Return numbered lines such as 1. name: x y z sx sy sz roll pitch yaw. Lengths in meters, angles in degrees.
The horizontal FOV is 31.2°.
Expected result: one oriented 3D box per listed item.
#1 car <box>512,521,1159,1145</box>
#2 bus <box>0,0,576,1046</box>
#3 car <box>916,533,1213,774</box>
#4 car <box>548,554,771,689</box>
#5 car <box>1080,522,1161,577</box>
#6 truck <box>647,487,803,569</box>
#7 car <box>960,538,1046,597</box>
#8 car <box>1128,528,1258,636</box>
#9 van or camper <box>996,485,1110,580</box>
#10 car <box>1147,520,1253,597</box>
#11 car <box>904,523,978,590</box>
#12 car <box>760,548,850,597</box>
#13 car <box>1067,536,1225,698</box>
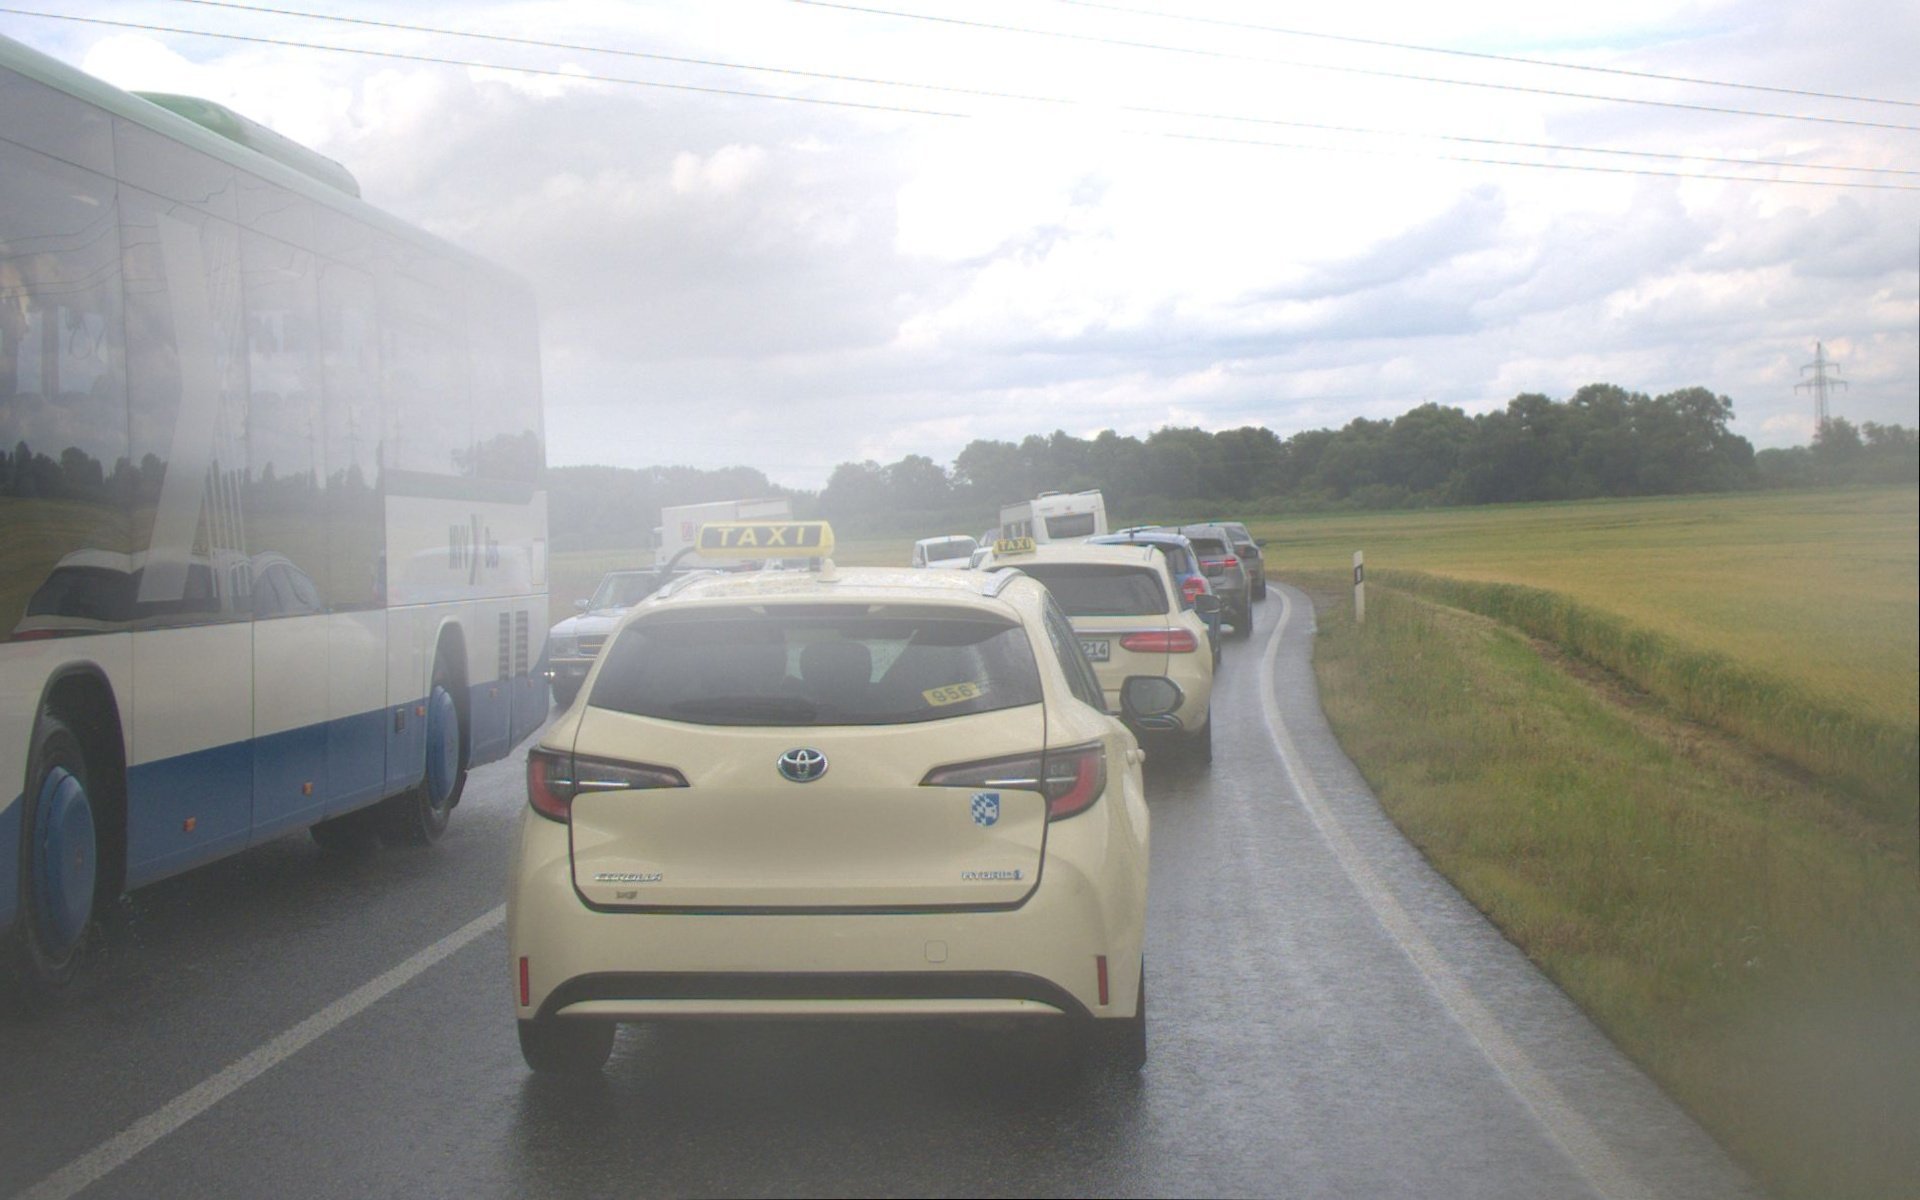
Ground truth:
1. car: -0.210 0.587 10.524 1.613 1.557 3.738 0 0 4
2. bus: -3.988 -0.406 14.450 2.758 3.286 12.501 0 1 3
3. car: 0.804 0.291 23.653 1.841 1.487 4.607 0 1 4
4. car: -2.898 0.200 33.874 1.719 1.247 4.000 0 0 2
5. car: 4.291 -1.351 92.469 1.783 1.408 3.739 0 0 -4
6. truck: -9.702 -2.895 140.810 3.013 3.198 8.233 0 0 -30
7. car: 1.018 -0.785 83.290 1.844 1.383 4.287 0 1 -2
8. car: 3.198 -0.233 46.749 1.613 1.408 3.737 0 0 6
9. van or camper: 2.868 -2.114 107.785 2.536 2.886 6.744 0 1 -8
10. car: 4.639 -0.770 66.132 1.960 1.408 4.391 0 0 5
11. car: -0.574 -1.239 98.055 1.844 1.849 4.447 0 1 -4
12. car: -5.460 -0.972 120.708 1.848 1.626 4.536 -2 1 -20
13. car: 2.040 0.177 37.014 1.613 1.653 3.738 0 0 4
